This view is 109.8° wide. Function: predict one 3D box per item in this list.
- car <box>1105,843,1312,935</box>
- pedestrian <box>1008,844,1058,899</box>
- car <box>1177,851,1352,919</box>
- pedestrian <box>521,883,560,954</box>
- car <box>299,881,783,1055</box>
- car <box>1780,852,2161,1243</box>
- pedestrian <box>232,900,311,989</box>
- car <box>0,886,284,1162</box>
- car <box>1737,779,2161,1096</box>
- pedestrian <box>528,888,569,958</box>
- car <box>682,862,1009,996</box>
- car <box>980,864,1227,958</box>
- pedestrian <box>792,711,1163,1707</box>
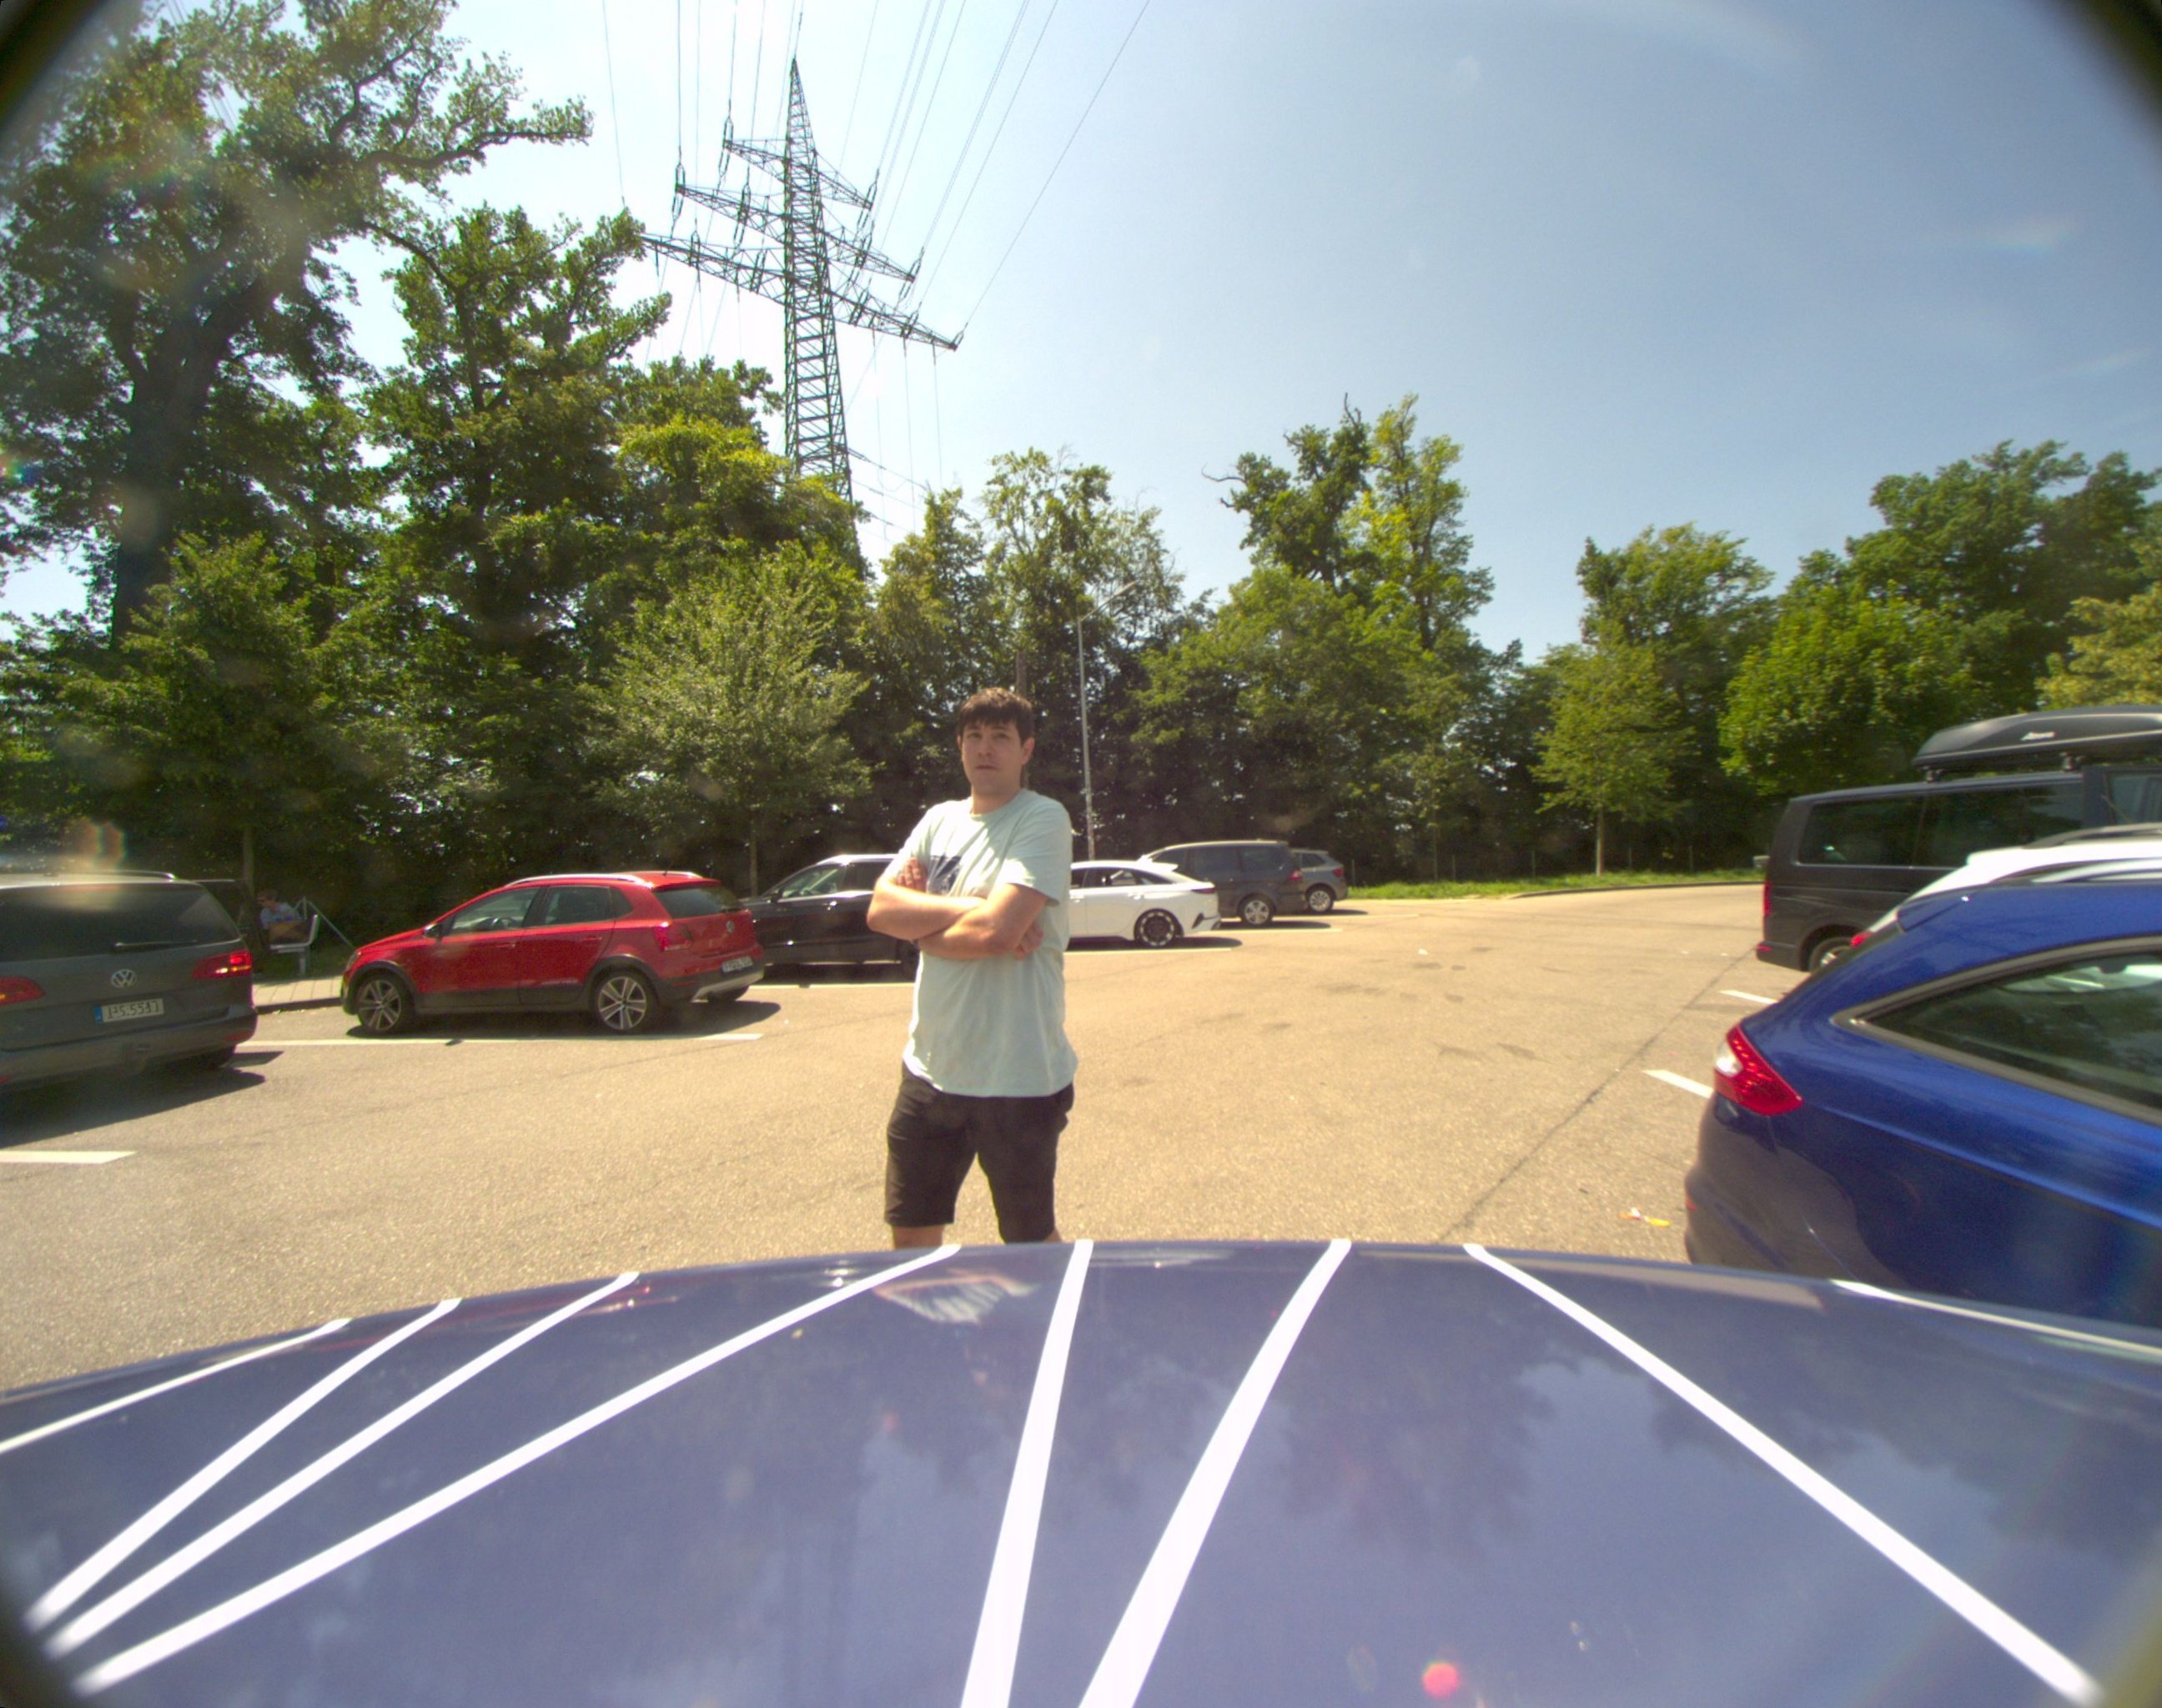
[{"bbox_3d":[2.507,0.685,15.476,3.882,1.680,1.882,-1,0,5],"label":"car"},{"bbox_3d":[-1.181,0.427,18.745,0.890,1.292,0.865,-2,0,23],"label":"pedestrian"},{"bbox_3d":[4.256,0.712,18.119,3.805,1.468,1.743,-1,1,5],"label":"car"},{"bbox_3d":[-10.928,1.287,15.356,0.490,1.367,0.506,-2,0,41],"label":"pedestrian"},{"bbox_3d":[-5.244,1.069,7.648,3.804,1.449,1.637,-1,1,7],"label":"car"},{"bbox_3d":[4.777,0.704,2.412,1.607,1.405,3.743,-2,-1,-1],"label":"car"},{"bbox_3d":[-11.800,1.302,11.076,0.680,1.211,0.675,-4,-2,36],"label":"pedestrian"},{"bbox_3d":[-8.345,1.099,5.432,3.950,1.581,1.753,-1,1,11],"label":"car"},{"bbox_3d":[7.304,0.459,5.009,2.048,1.850,4.430,-2,-1,-1],"label":"car"},{"bbox_3d":[-10.171,1.304,14.519,0.490,1.291,0.506,-2,0,41],"label":"pedestrian"},{"bbox_3d":[-3.010,0.943,10.276,3.806,1.538,1.759,-1,1,2],"label":"car"},{"bbox_3d":[0.405,0.912,12.725,3.805,1.359,1.803,-1,1,5],"label":"car"},{"bbox_3d":[-0.278,0.674,1.788,0.634,1.857,0.747,-2,0,-17],"label":"pedestrian"}]
